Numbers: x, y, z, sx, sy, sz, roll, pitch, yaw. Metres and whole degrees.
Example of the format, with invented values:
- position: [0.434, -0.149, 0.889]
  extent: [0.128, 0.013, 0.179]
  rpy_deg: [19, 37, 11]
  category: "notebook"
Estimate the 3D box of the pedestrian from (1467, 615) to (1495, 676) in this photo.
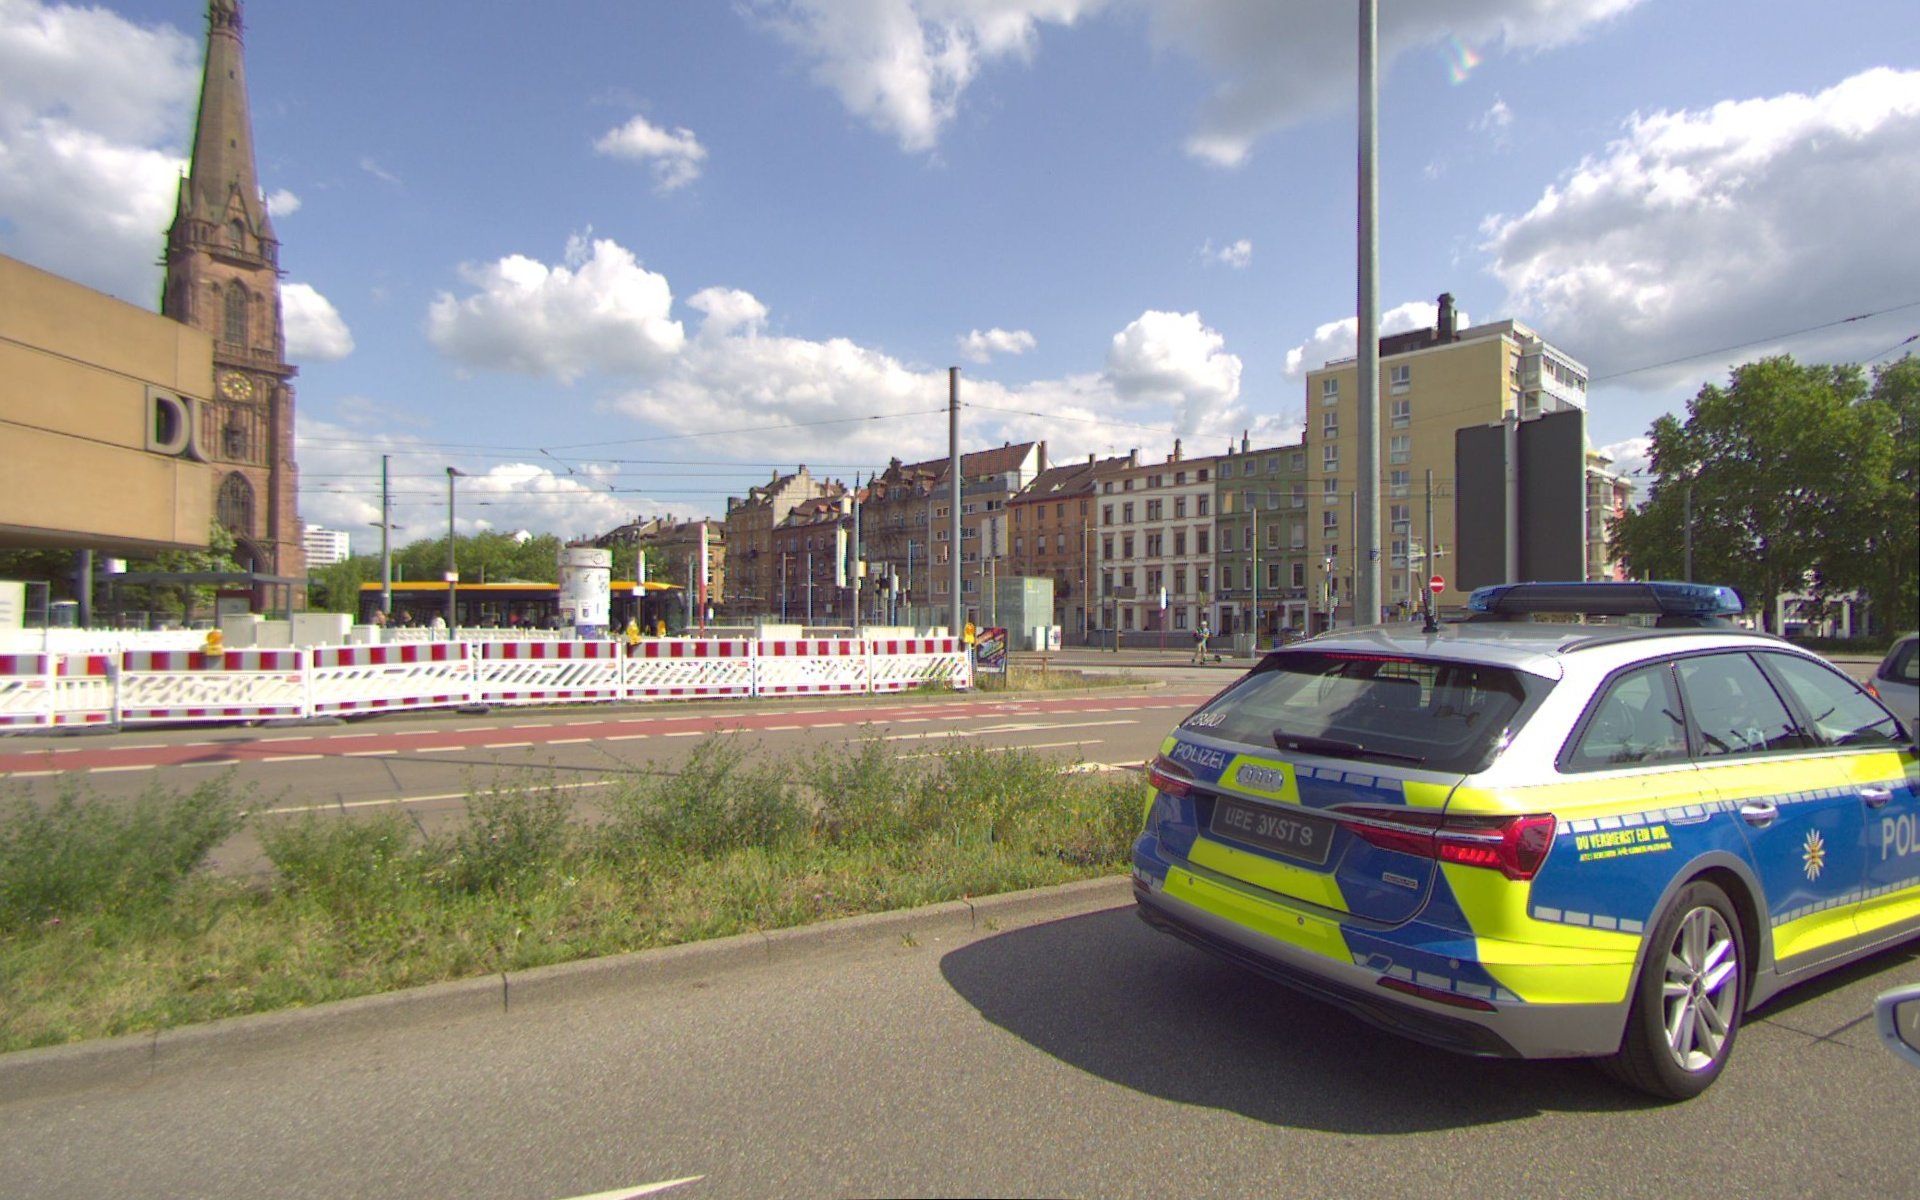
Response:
- position: [16.940, 1.461, 32.654]
  extent: [0.753, 1.928, 0.825]
  rpy_deg: [2, 0, 29]
  category: "pedestrian"

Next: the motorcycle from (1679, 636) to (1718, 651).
- position: [50.424, 2.971, 68.566]
  extent: [2.003, 0.929, 0.812]
  rpy_deg: [-1, -1, 7]
  category: "motorcycle"

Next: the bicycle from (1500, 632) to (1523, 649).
- position: [40.708, 2.975, 74.103]
  extent: [1.791, 1.275, 0.789]
  rpy_deg: [1, -1, -34]
  category: "bicycle"

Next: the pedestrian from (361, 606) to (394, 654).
- position: [-20.694, 1.063, 35.679]
  extent: [0.751, 1.653, 0.652]
  rpy_deg: [1, -1, -4]
  category: "pedestrian"

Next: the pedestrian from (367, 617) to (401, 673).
- position: [-17.522, 1.365, 30.570]
  extent: [0.760, 1.653, 0.645]
  rpy_deg: [2, -1, -41]
  category: "pedestrian"

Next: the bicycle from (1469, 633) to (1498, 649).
- position: [38.606, 3.010, 74.042]
  extent: [1.783, 1.118, 0.792]
  rpy_deg: [0, -1, 42]
  category: "bicycle"

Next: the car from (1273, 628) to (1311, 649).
- position: [25.141, 2.911, 76.212]
  extent: [1.861, 1.516, 3.902]
  rpy_deg: [1, -2, 4]
  category: "car"

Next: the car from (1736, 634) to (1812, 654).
- position: [59.026, 3.174, 72.895]
  extent: [1.615, 1.344, 3.967]
  rpy_deg: [3, -3, -31]
  category: "car"

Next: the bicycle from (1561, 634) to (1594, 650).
- position: [44.786, 3.026, 72.826]
  extent: [1.922, 1.162, 0.792]
  rpy_deg: [-1, -1, 43]
  category: "bicycle"

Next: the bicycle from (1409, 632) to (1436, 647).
- position: [35.634, 3.027, 77.369]
  extent: [1.783, 1.118, 0.792]
  rpy_deg: [0, -1, 42]
  category: "bicycle"

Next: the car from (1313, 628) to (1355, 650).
- position: [27.325, 2.847, 73.555]
  extent: [1.861, 1.516, 3.902]
  rpy_deg: [1, -2, 4]
  category: "car"

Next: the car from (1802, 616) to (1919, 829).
- position: [8.581, 0.900, 7.865]
  extent: [3.953, 1.494, 1.839]
  rpy_deg: [1, -2, -30]
  category: "car"

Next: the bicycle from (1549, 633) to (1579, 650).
- position: [43.547, 2.972, 72.407]
  extent: [1.784, 1.162, 0.792]
  rpy_deg: [0, -1, 43]
  category: "bicycle"

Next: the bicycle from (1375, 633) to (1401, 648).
- position: [33.772, 3.197, 79.233]
  extent: [1.783, 1.118, 0.792]
  rpy_deg: [0, -1, 42]
  category: "bicycle"

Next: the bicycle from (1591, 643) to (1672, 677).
- position: [24.641, 2.196, 36.889]
  extent: [0.984, 1.204, 2.281]
  rpy_deg: [2, -3, -32]
  category: "bicycle"

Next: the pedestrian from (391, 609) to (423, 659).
- position: [-18.285, 1.119, 33.201]
  extent: [0.640, 1.653, 0.765]
  rpy_deg: [1, -1, -5]
  category: "pedestrian"

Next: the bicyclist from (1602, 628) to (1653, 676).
- position: [24.581, 1.909, 37.002]
  extent: [0.984, 1.753, 1.290]
  rpy_deg: [2, -2, -32]
  category: "bicyclist"

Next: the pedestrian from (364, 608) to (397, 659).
- position: [-19.123, 1.109, 33.152]
  extent: [0.640, 1.653, 0.765]
  rpy_deg: [1, -1, -4]
  category: "pedestrian"

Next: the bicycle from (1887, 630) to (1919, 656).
- position: [54.444, 2.442, 57.373]
  extent: [0.807, 1.433, 2.146]
  rpy_deg: [0, 0, -44]
  category: "bicycle"

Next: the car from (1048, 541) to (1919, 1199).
- position: [2.778, 0.715, 4.400]
  extent: [4.562, 1.589, 1.871]
  rpy_deg: [1, -2, -31]
  category: "car"

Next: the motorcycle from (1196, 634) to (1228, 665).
- position: [10.616, 2.081, 42.333]
  extent: [0.478, 1.253, 1.437]
  rpy_deg: [2, -2, -27]
  category: "motorcycle"

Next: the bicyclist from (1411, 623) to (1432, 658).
- position: [24.465, 2.140, 53.260]
  extent: [0.768, 1.821, 0.706]
  rpy_deg: [2, 0, 42]
  category: "bicyclist"

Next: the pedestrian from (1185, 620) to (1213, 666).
- position: [9.888, 1.766, 41.526]
  extent: [0.754, 1.821, 1.026]
  rpy_deg: [2, 0, 33]
  category: "pedestrian"

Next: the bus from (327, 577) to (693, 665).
- position: [-16.841, 0.799, 38.216]
  extent: [12.587, 3.177, 2.835]
  rpy_deg: [0, -1, 0]
  category: "bus"

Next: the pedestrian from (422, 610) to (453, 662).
- position: [-16.960, 1.158, 32.610]
  extent: [0.641, 1.653, 0.765]
  rpy_deg: [1, -1, -7]
  category: "pedestrian"

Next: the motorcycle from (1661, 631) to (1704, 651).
- position: [46.845, 2.660, 65.156]
  extent: [0.890, 1.254, 2.214]
  rpy_deg: [0, -1, -12]
  category: "motorcycle"

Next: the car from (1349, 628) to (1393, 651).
- position: [29.679, 2.862, 72.584]
  extent: [1.861, 1.516, 3.903]
  rpy_deg: [1, -2, 5]
  category: "car"

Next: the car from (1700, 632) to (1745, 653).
- position: [55.418, 3.109, 73.014]
  extent: [3.970, 1.432, 1.888]
  rpy_deg: [4, -4, -42]
  category: "car"

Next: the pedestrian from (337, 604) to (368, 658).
- position: [-18.788, 0.966, 31.069]
  extent: [0.549, 1.651, 0.732]
  rpy_deg: [1, -1, -7]
  category: "pedestrian"
